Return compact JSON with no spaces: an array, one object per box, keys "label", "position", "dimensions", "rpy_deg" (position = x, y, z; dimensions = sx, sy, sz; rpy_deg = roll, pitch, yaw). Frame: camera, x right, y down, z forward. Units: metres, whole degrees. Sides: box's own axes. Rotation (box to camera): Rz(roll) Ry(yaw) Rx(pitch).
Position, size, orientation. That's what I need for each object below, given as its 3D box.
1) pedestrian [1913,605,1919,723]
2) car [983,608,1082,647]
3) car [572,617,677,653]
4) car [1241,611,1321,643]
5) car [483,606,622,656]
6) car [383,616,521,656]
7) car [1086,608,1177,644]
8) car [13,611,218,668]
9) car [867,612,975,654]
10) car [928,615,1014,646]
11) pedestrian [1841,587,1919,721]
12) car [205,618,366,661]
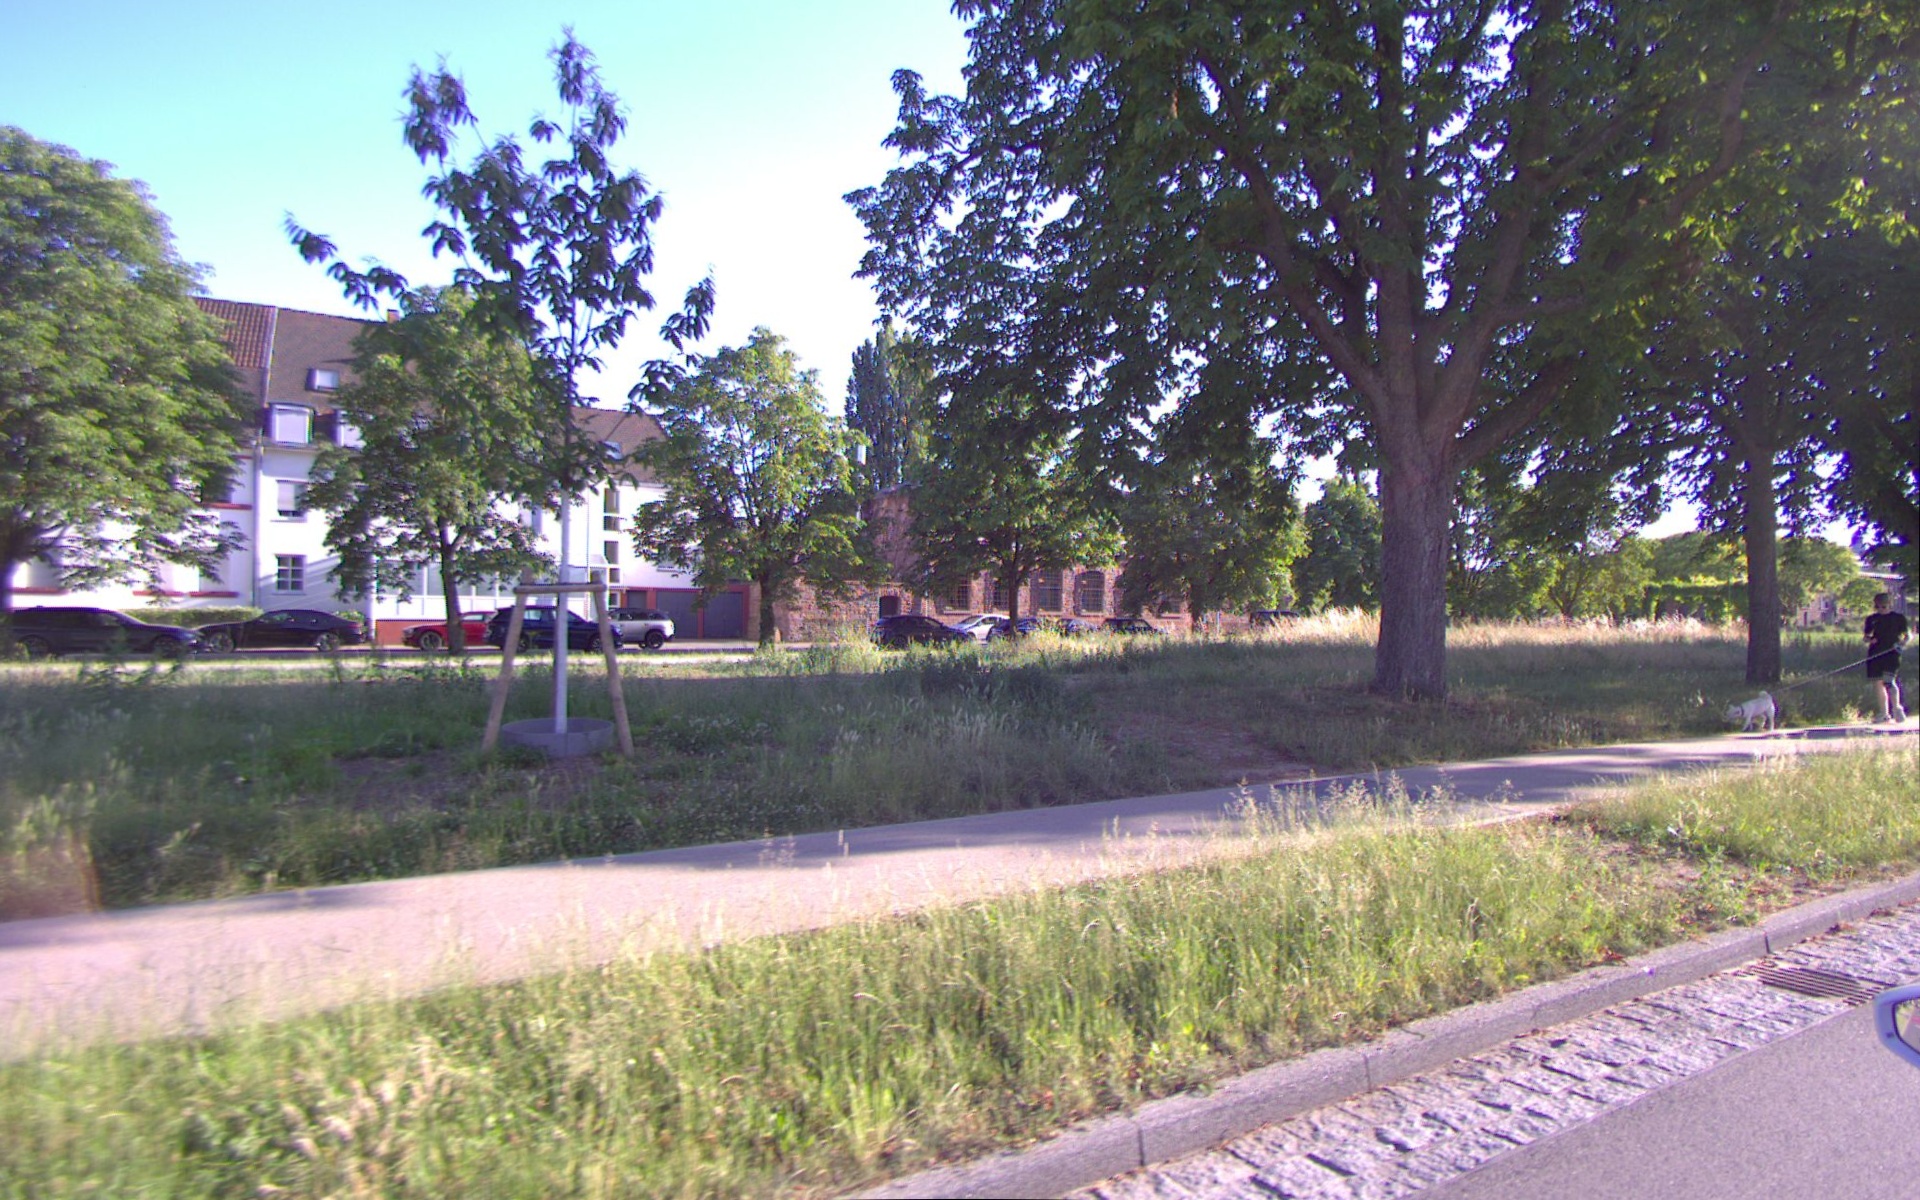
[{"label":"pedestrian","position":[13.831,0.886,13.812],"dimensions":[0.939,1.636,0.780],"rpy_deg":[1,0,-27]},{"label":"car","position":[3.197,1.204,44.269],"dimensions":[4.173,1.619,1.684],"rpy_deg":[1,-1,-31]},{"label":"car","position":[-13.464,1.407,40.333],"dimensions":[3.805,1.350,1.563],"rpy_deg":[1,0,-29]},{"label":"car","position":[16.888,1.408,52.789],"dimensions":[4.173,1.619,1.684],"rpy_deg":[1,-1,-31]},{"label":"car","position":[-13.864,1.037,34.230],"dimensions":[4.173,1.619,1.684],"rpy_deg":[1,-1,-31]},{"label":"car","position":[-18.671,1.322,37.021],"dimensions":[4.425,1.350,1.563],"rpy_deg":[1,0,-29]},{"label":"car","position":[8.167,1.219,47.764],"dimensions":[4.173,1.619,1.684],"rpy_deg":[1,-1,-31]},{"label":"car","position":[-23.580,1.082,28.257],"dimensions":[4.175,1.496,1.683],"rpy_deg":[1,-1,-32]},{"label":"car","position":[-1.587,1.336,41.342],"dimensions":[4.173,1.619,1.684],"rpy_deg":[1,-1,-31]},{"label":"car","position":[0.534,1.459,48.965],"dimensions":[3.954,1.424,1.621],"rpy_deg":[1,-1,-31]},{"label":"pedestrian","position":[13.162,0.749,14.319],"dimensions":[0.874,1.855,0.622],"rpy_deg":[1,0,-27]},{"label":"car","position":[-23.042,1.340,34.519],"dimensions":[4.426,1.350,1.563],"rpy_deg":[1,0,-29]}]
